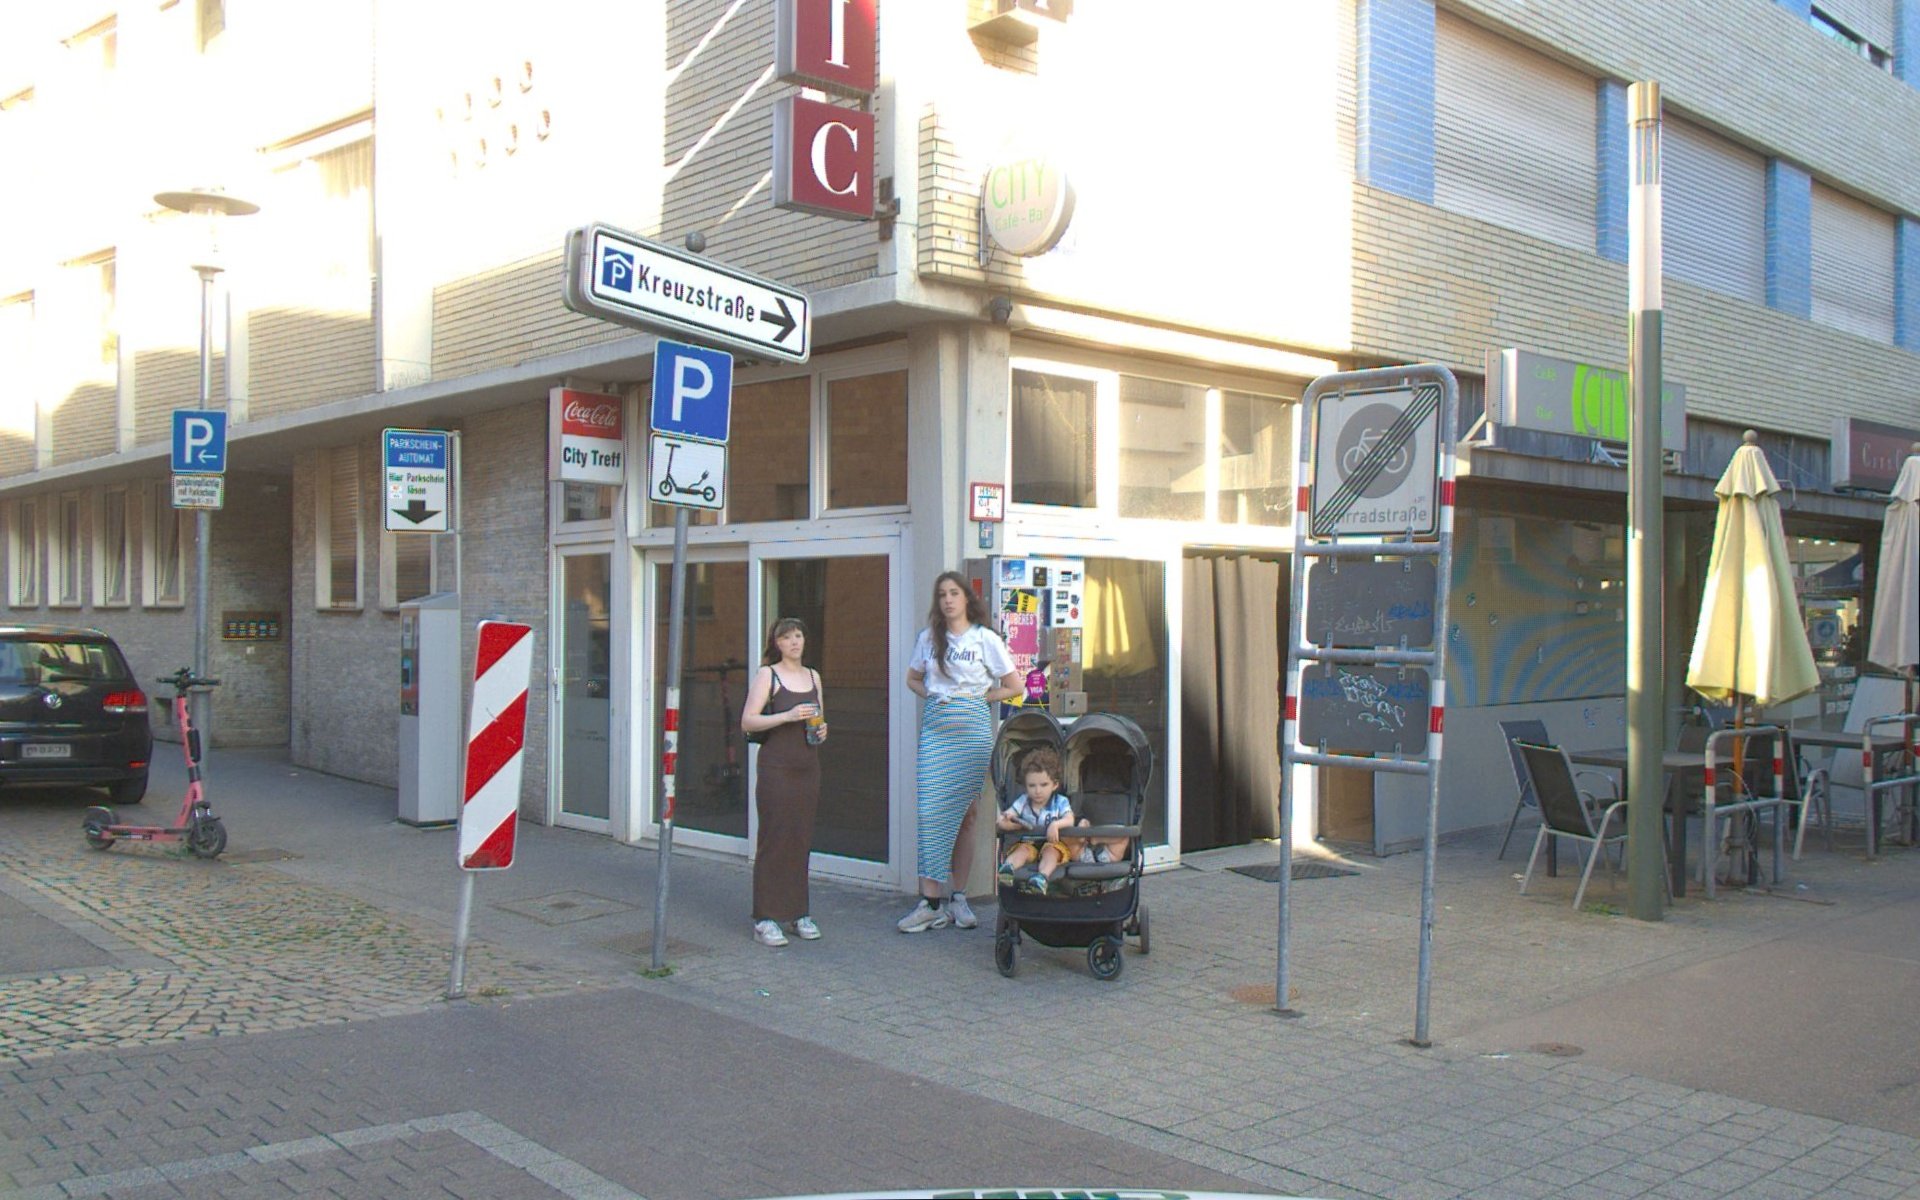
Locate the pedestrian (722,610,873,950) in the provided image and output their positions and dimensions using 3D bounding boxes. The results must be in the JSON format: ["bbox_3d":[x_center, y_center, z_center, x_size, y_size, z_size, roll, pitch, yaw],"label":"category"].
[{"bbox_3d":[-0.795,0.847,8.092,0.567,1.567,0.436,-2,1,-34],"label":"pedestrian"}]

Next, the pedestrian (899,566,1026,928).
[{"bbox_3d":[0.020,0.722,8.431,0.612,1.767,0.622,0,-1,1],"label":"pedestrian"}]

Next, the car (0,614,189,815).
[{"bbox_3d":[-8.518,0.896,14.611,1.813,1.531,4.529,5,-3,-42],"label":"car"}]

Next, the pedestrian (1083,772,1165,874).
[{"bbox_3d":[0.739,0.997,7.437,0.324,0.405,0.313,0,-1,13],"label":"pedestrian"}]

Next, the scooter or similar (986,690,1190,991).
[{"bbox_3d":[0.552,1.054,7.566,0.851,1.197,1.045,0,1,0],"label":"scooter or similar"}]

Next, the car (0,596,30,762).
[{"bbox_3d":[-12.153,0.793,18.512,1.983,1.732,4.768,4,-3,-42],"label":"car"}]

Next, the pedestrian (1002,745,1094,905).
[{"bbox_3d":[0.400,0.998,7.438,0.324,0.644,0.509,0,-1,13],"label":"pedestrian"}]

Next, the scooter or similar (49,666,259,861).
[{"bbox_3d":[-5.394,1.069,11.073,1.275,1.215,0.494,0,-1,19],"label":"scooter or similar"}]
